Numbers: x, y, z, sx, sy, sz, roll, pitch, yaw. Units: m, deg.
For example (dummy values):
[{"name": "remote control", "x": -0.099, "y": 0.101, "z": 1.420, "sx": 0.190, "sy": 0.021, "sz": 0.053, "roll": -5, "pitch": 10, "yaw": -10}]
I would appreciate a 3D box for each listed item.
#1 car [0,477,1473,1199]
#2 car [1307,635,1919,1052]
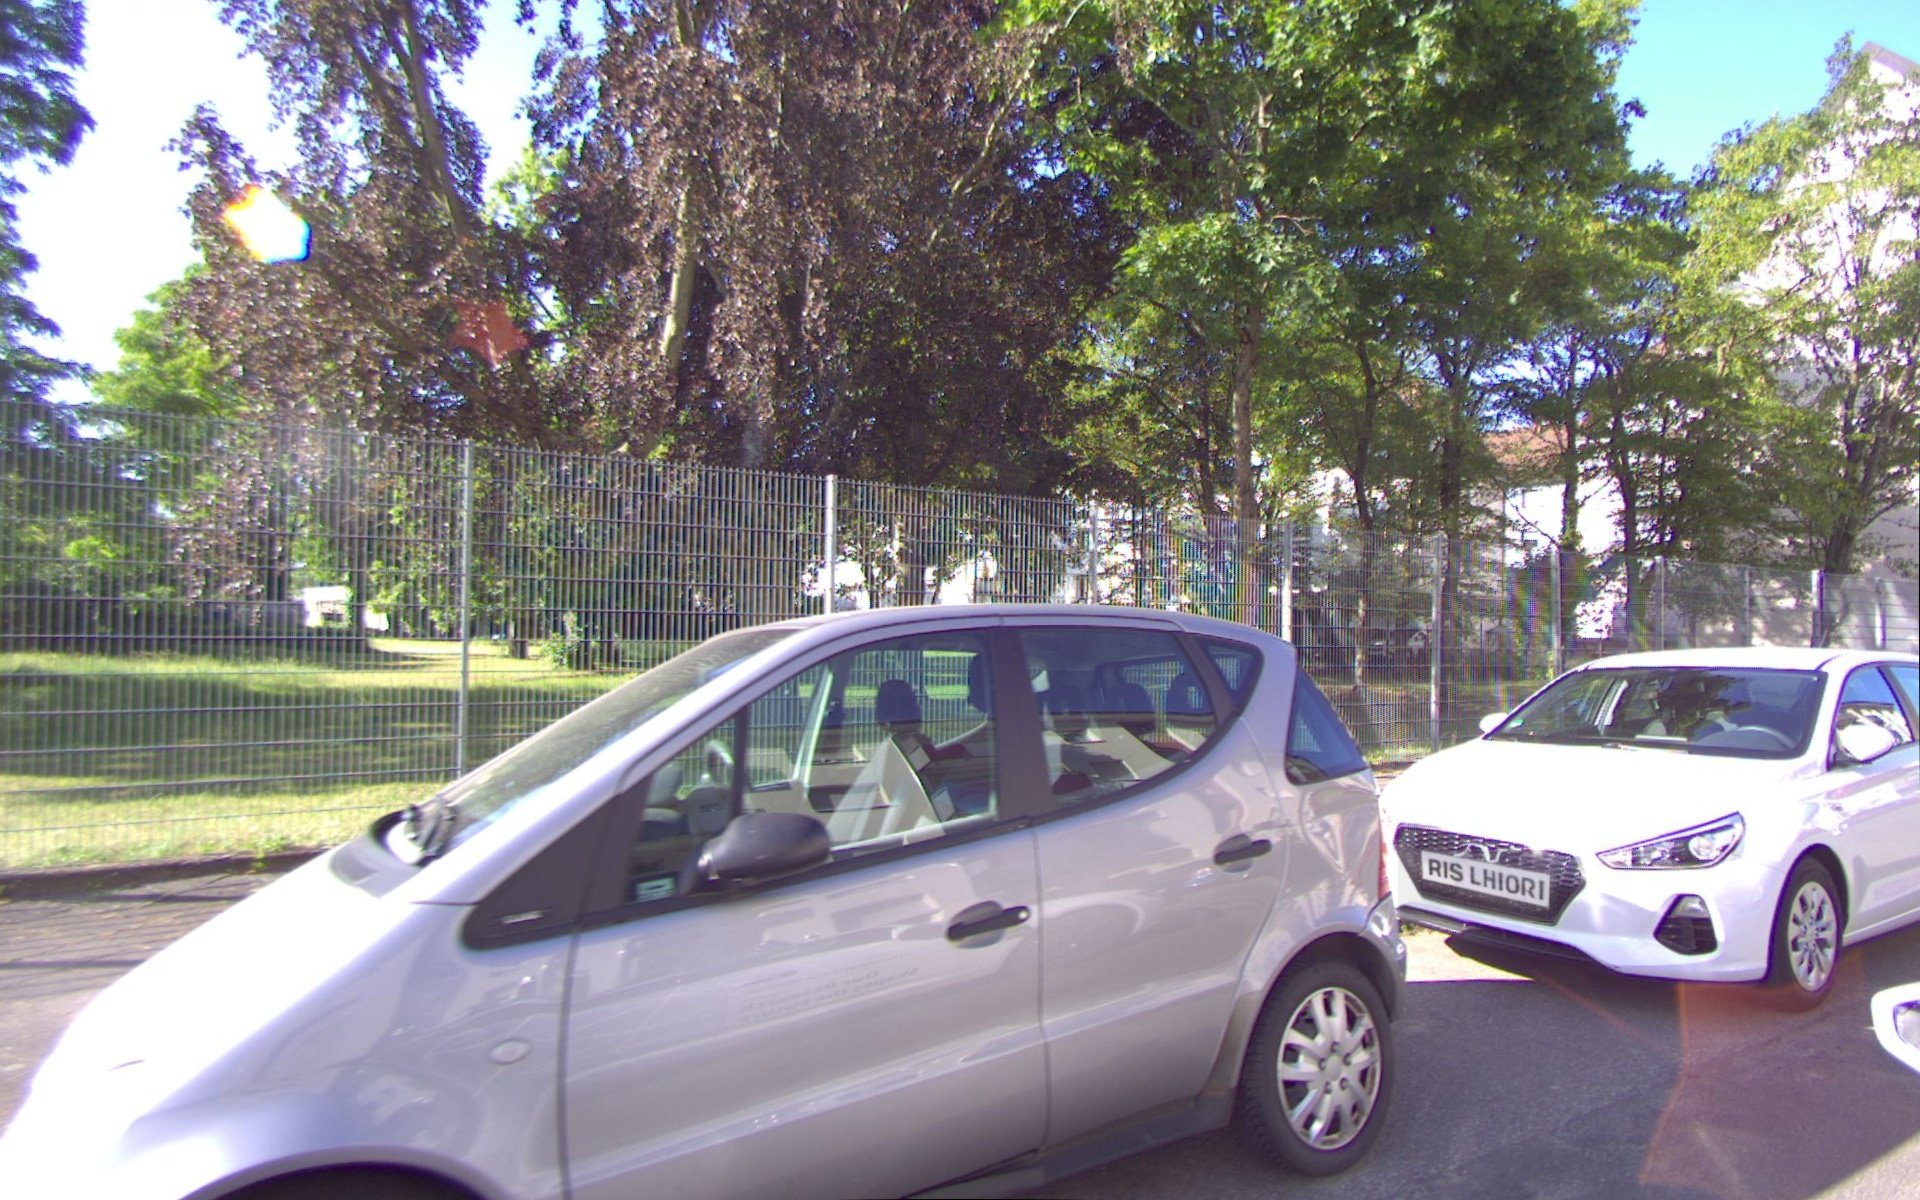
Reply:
[{"name": "car", "x": -0.366, "y": 0.774, "z": 2.846, "sx": 3.574, "sy": 1.664, "sz": 1.557, "roll": 2, "pitch": -5, "yaw": -31}, {"name": "car", "x": 3.968, "y": 0.970, "z": 5.365, "sx": 4.071, "sy": 1.463, "sz": 1.786, "roll": 2, "pitch": -3, "yaw": -30}]
